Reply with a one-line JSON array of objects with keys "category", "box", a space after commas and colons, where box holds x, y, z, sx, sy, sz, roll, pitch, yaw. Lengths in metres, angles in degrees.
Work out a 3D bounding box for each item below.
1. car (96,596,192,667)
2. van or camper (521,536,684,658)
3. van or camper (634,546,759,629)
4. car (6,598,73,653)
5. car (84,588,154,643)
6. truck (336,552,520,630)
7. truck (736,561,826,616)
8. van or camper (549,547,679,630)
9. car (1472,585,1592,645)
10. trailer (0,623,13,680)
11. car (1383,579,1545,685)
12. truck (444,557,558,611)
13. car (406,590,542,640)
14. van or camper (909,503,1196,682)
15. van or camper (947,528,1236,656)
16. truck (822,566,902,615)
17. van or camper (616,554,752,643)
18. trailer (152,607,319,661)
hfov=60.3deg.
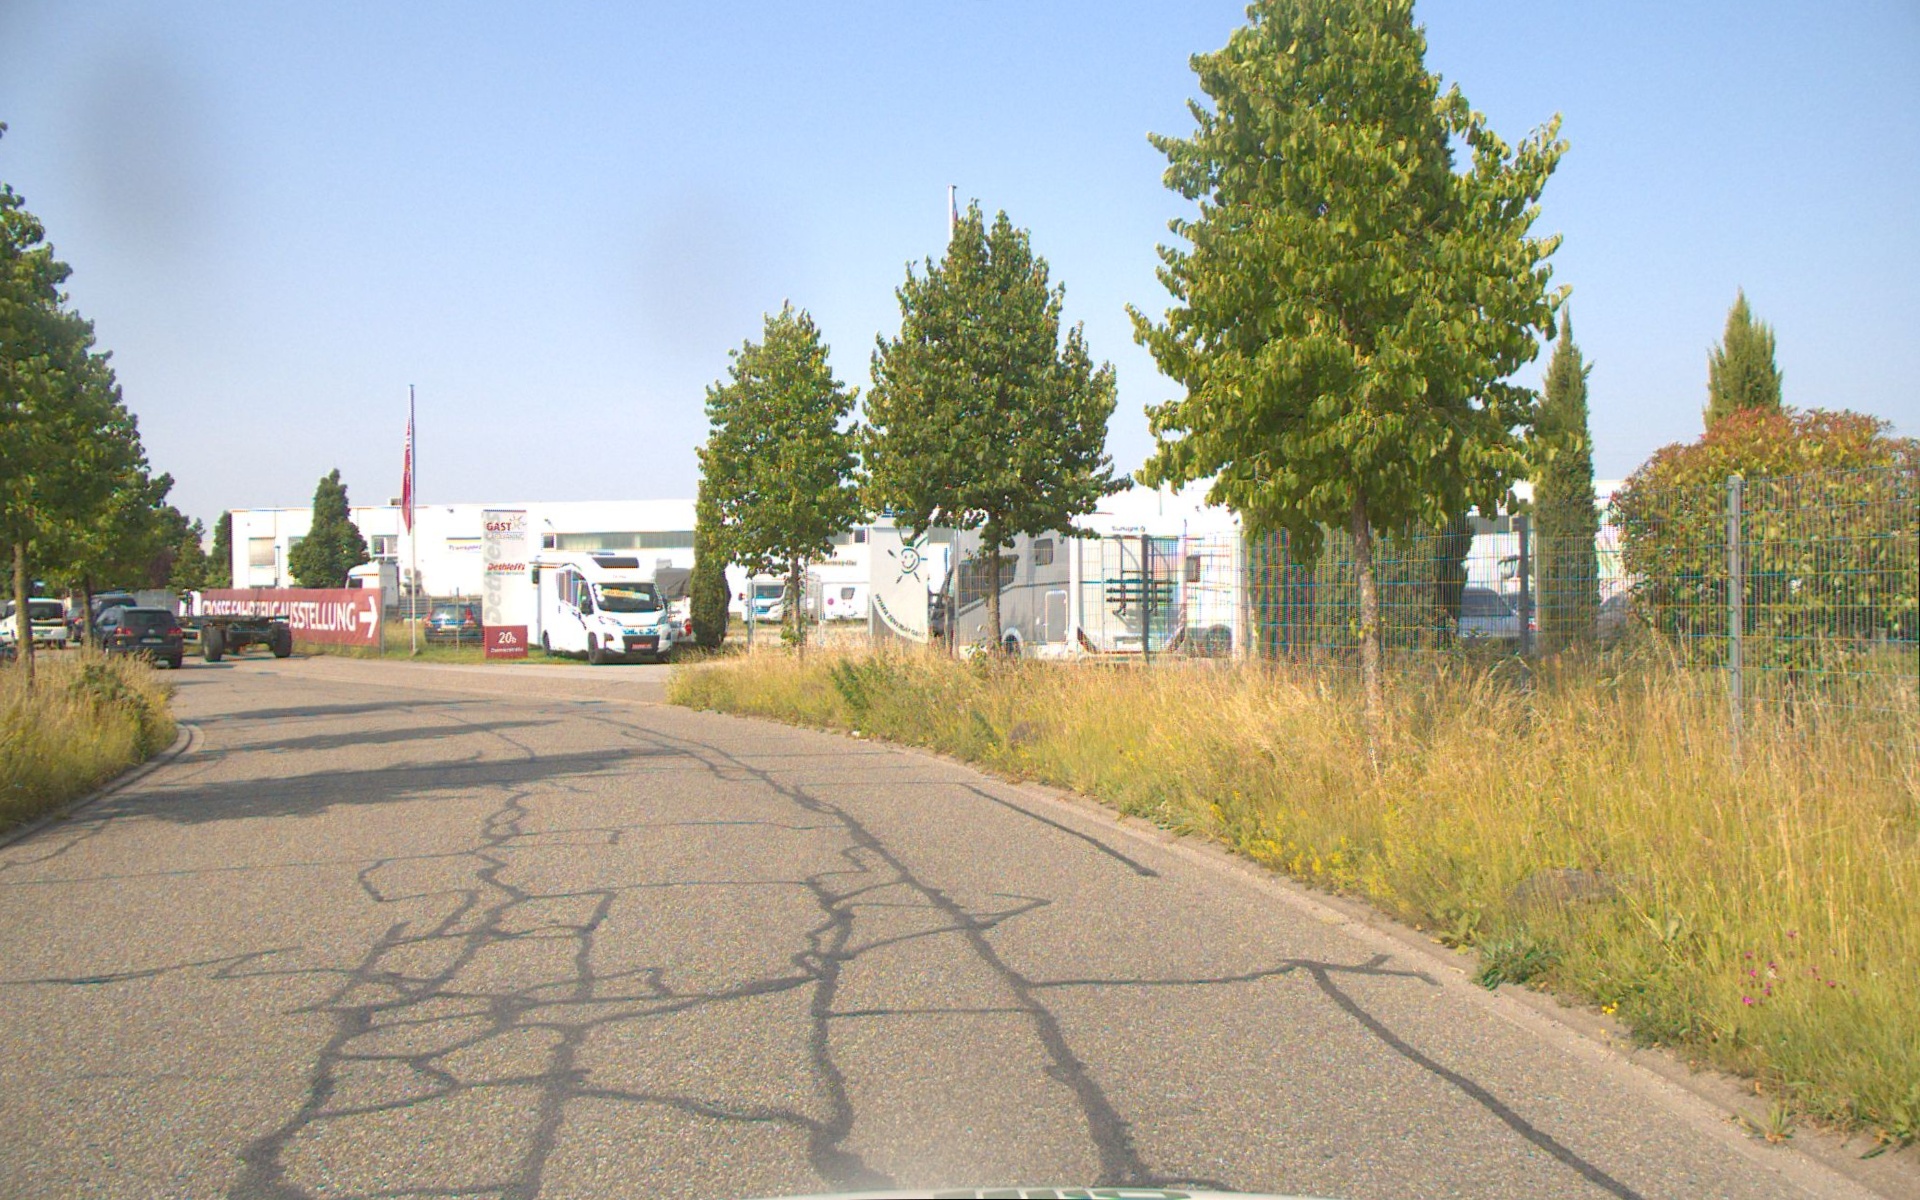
[{"category": "car", "box": [-22.874, 0.859, 46.282, 1.975, 1.836, 3.955, -1, 0, -33]}, {"category": "van or camper", "box": [-9.722, -0.107, 44.453, 2.306, 2.995, 6.901, -1, 1, -30]}, {"category": "van or camper", "box": [-10.469, -0.553, 66.542, 2.886, 3.138, 7.976, 0, 1, 7]}, {"category": "car", "box": [-34.928, 0.930, 62.738, 1.975, 1.932, 4.417, -1, 1, -32]}, {"category": "car", "box": [-33.766, 0.594, 66.336, 1.805, 2.012, 3.949, -5, 3, -36]}, {"category": "truck", "box": [-28.425, -0.459, 88.574, 9.087, 4.042, 2.460, 0, 0, 5]}, {"category": "truck", "box": [-8.522, -0.578, 79.684, 2.398, 2.514, 8.009, 0, 1, 8]}, {"category": "van or camper", "box": [-13.845, -0.510, 66.916, 2.739, 3.138, 7.976, 0, 1, 7]}, {"category": "car", "box": [14.357, 0.337, 41.733, 1.675, 1.403, 4.001, 1, 0, 1]}, {"category": "trailer", "box": [-21.342, 1.051, 33.970, 2.557, 1.119, 5.129, -1, 1, -39]}, {"category": "car", "box": [8.644, 0.491, 28.709, 1.686, 1.672, 4.001, 1, 1, 2]}, {"category": "truck", "box": [-22.473, -0.799, 81.400, 2.398, 2.514, 8.009, 0, 1, 8]}, {"category": "car", "box": [-15.451, 0.461, 52.767, 2.121, 1.502, 4.000, -1, 1, 22]}, {"category": "van or camper", "box": [1.465, -0.132, 30.665, 2.318, 2.897, 7.288, 0, 0, -23]}, {"category": "van or camper", "box": [3.277, -0.196, 42.194, 7.108, 3.085, 2.586, -1, 0, 1]}, {"category": "truck", "box": [-4.741, -0.507, 81.884, 2.398, 2.304, 8.009, 0, 1, 8]}, {"category": "van or camper", "box": [-8.598, -0.097, 52.267, 2.430, 2.603, 6.631, 0, 1, 7]}, {"category": "trailer", "box": [-23.111, 1.010, 52.433, 2.605, 1.412, 9.325, -4, 2, -38]}]
